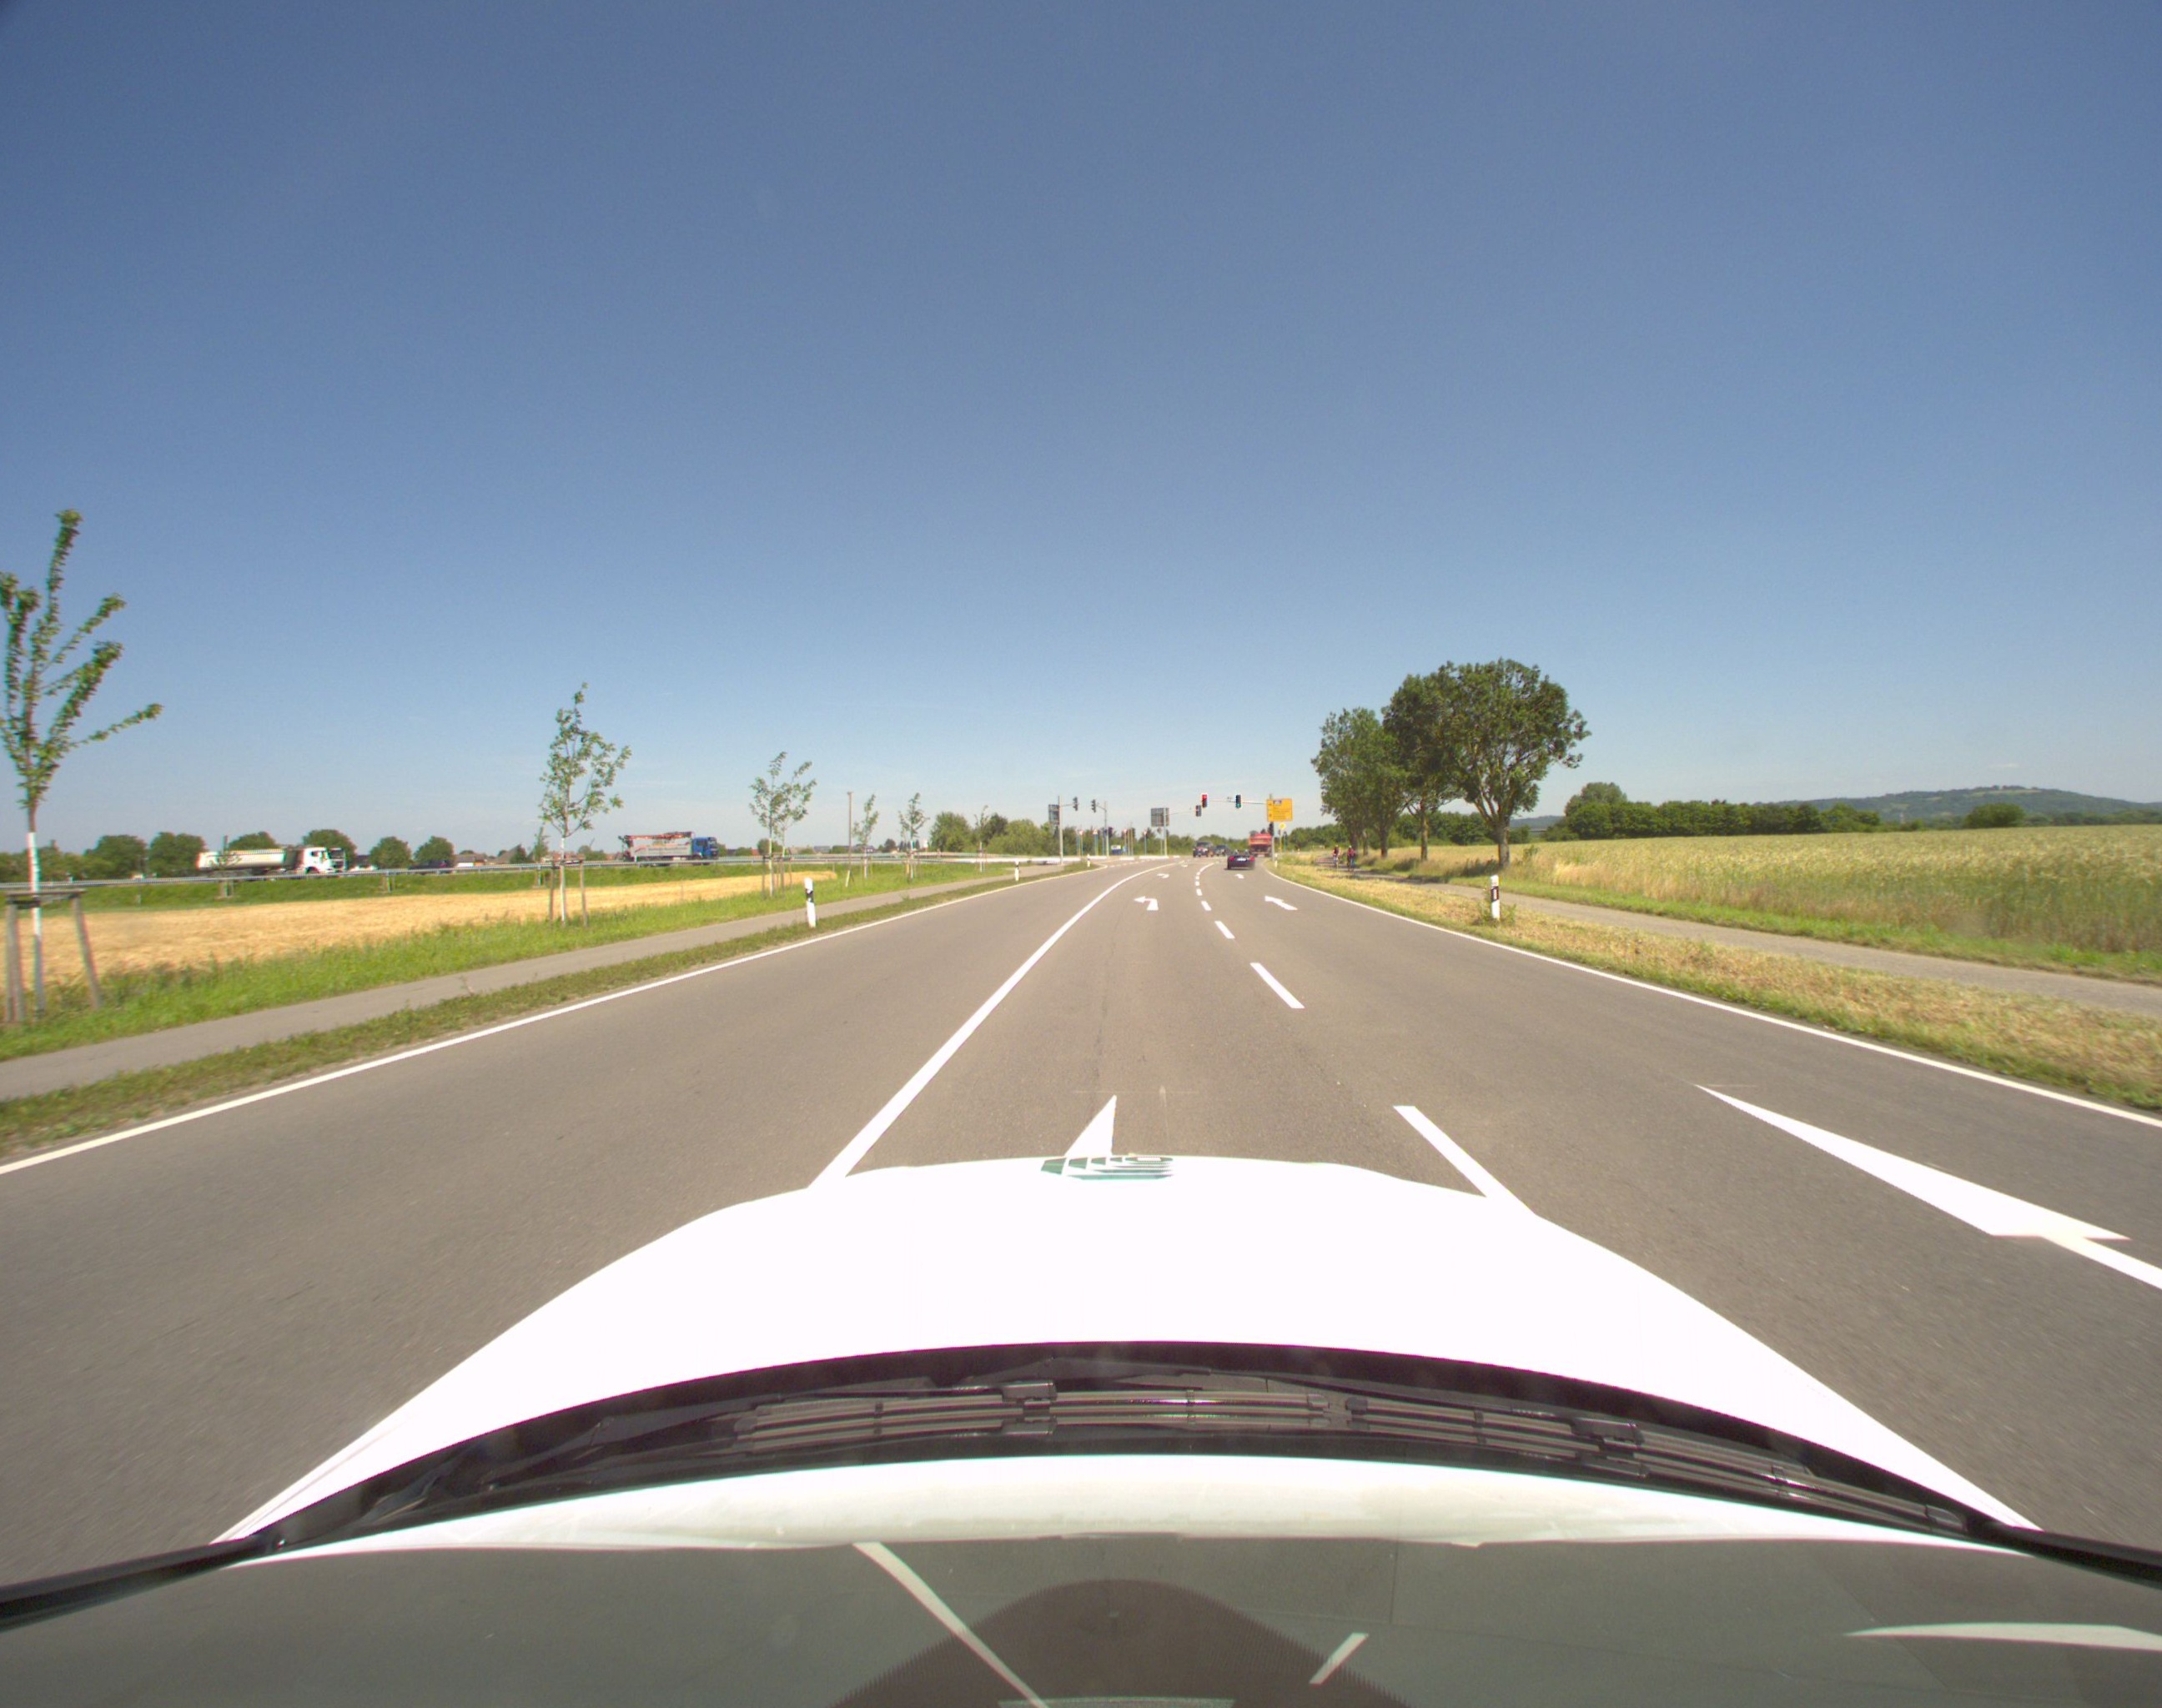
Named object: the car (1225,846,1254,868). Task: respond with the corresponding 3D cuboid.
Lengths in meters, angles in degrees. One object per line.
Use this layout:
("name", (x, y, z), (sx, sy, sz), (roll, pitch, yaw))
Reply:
("car", (10.293, 0.216, 52.766), (1.736, 1.376, 3.691), (0, -1, 12))

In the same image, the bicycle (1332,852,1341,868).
("bicycle", (18.851, 0.426, 60.119), (0.600, 1.176, 2.060), (2, 1, 18))

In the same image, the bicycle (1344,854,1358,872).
("bicycle", (18.610, 0.631, 56.149), (0.693, 1.210, 2.059), (2, 0, 14))

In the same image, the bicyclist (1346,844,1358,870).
("bicyclist", (18.661, 0.190, 56.170), (0.623, 1.782, 0.981), (3, 2, 14))

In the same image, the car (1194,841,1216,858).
("car", (15.453, -0.570, 101.454), (1.915, 1.978, 4.706), (0, 1, 17))

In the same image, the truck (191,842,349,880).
("truck", (-82.176, 0.696, 82.750), (11.976, 3.614, 2.976), (-1, 0, -7))

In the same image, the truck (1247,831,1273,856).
("truck", (23.194, -1.328, 105.337), (2.693, 3.053, 8.198), (-1, -1, 16))

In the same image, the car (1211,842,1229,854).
("car", (19.454, -0.845, 113.667), (1.916, 1.739, 4.909), (0, 1, 15))

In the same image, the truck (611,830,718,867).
("truck", (-45.077, -0.612, 88.384), (10.066, 3.793, 2.621), (-1, 0, -6))

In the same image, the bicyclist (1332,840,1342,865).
("bicyclist", (18.861, -0.119, 60.074), (0.582, 1.734, 1.177), (3, 2, 18))
